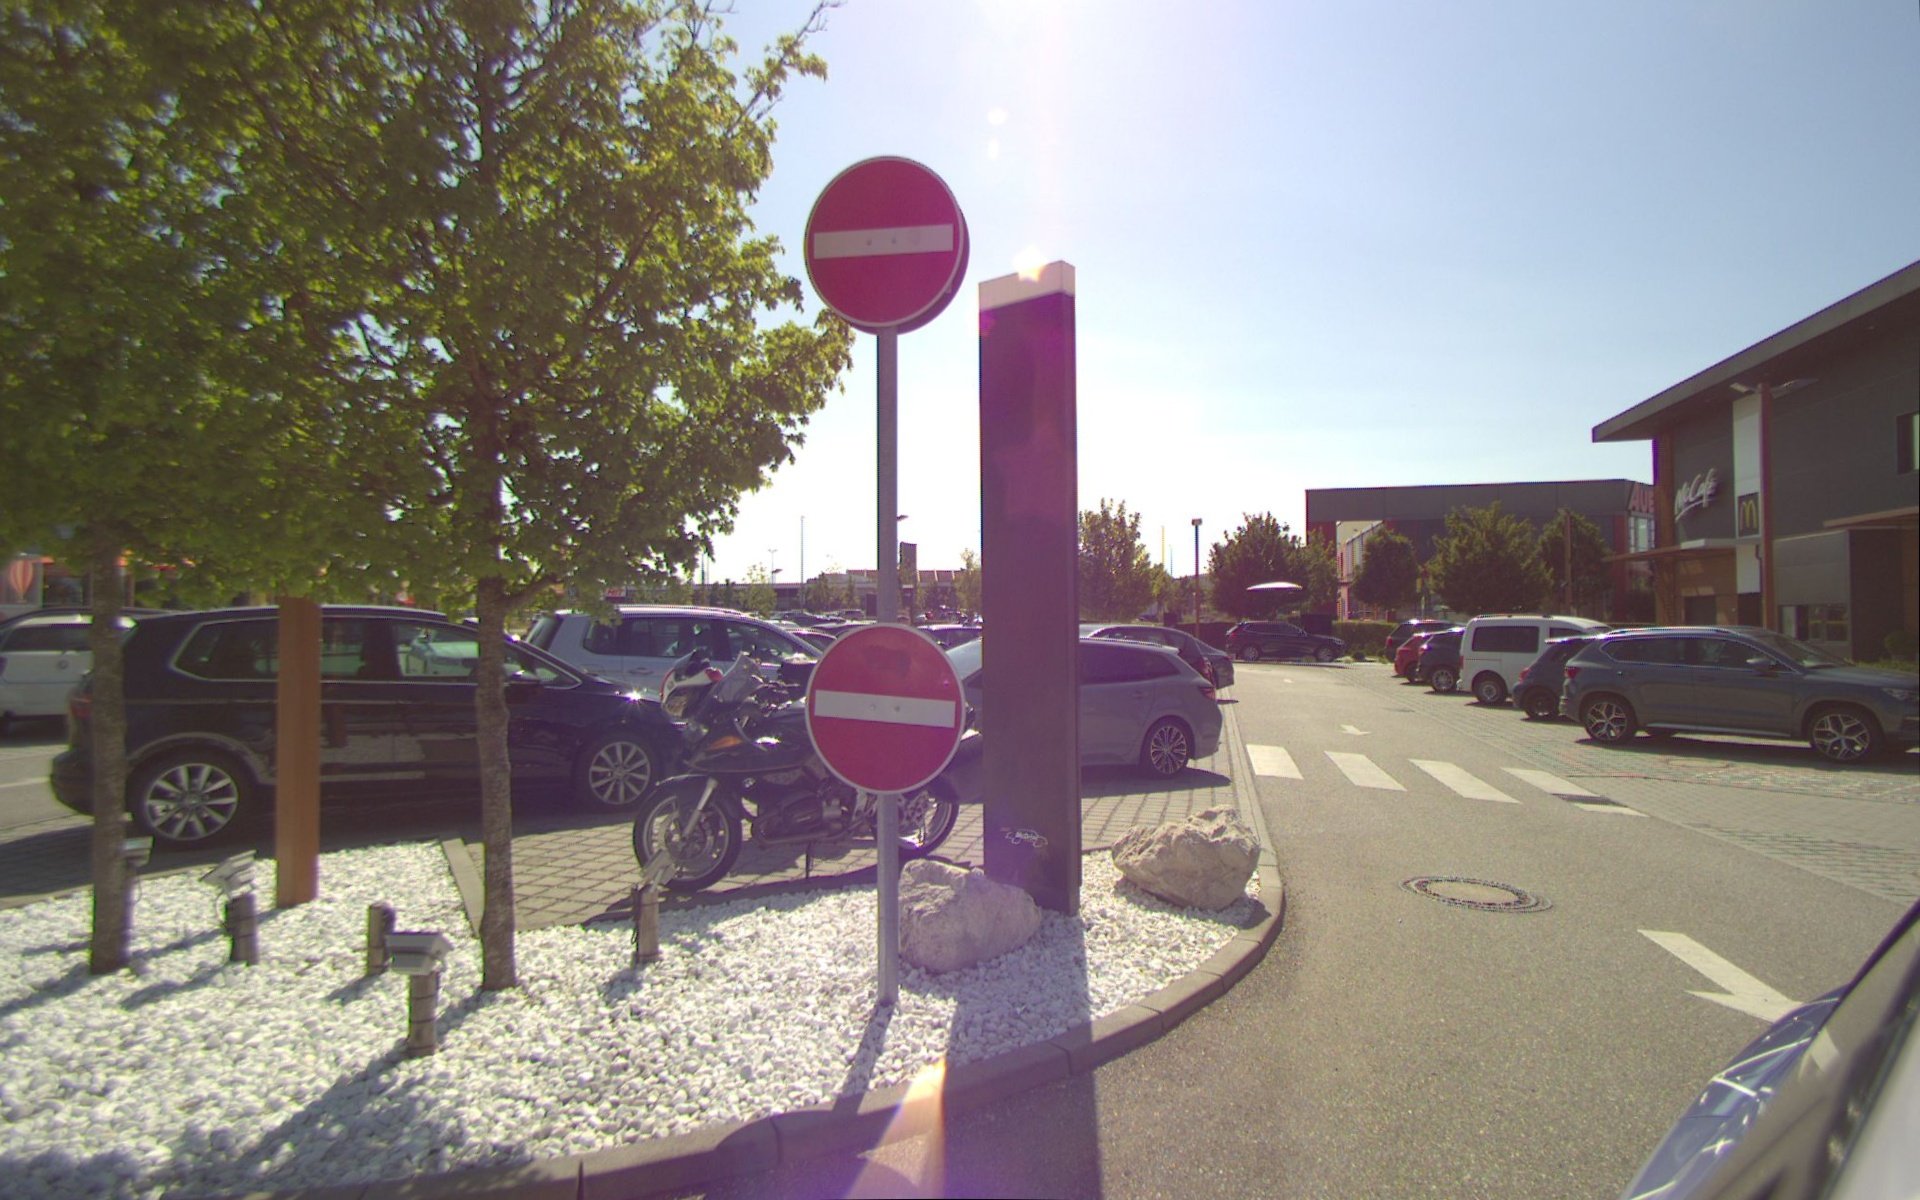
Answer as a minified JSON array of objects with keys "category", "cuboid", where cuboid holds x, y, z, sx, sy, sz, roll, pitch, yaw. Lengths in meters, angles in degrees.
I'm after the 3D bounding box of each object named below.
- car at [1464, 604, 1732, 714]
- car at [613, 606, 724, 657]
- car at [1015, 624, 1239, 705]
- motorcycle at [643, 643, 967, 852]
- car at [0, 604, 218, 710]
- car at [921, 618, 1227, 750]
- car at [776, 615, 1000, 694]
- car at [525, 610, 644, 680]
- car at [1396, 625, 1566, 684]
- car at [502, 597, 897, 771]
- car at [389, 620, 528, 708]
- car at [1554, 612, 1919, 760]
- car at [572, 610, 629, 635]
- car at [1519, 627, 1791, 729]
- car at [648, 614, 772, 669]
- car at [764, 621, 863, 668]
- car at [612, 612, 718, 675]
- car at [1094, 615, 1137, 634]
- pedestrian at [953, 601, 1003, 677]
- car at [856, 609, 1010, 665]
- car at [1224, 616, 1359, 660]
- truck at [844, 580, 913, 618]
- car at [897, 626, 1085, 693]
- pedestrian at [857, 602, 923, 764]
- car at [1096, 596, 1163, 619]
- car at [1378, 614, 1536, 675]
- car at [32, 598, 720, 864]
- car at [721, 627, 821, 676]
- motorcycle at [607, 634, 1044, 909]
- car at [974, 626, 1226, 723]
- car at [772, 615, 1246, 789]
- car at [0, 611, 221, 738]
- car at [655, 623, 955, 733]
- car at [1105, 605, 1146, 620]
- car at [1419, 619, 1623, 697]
[{"category":"car","cuboid":[12.487,1.073,20.046,1.725,1.946,4.144,1,-1,-36]},{"category":"car","cuboid":[-10.786,1.151,37.774,2.043,1.772,4.345,0,-1,15]},{"category":"car","cuboid":[3.526,1.271,21.179,4.451,1.530,1.889,1,-1,-30]},{"category":"motorcycle","cuboid":[-1.031,0.937,7.093,2.101,1.247,0.820,2,-3,-37]},{"category":"car","cuboid":[-14.532,0.872,16.253,4.004,1.597,1.759,1,-1,-29]},{"category":"car","cuboid":[1.607,1.064,14.123,3.918,1.614,1.814,1,-1,-28]},{"category":"car","cuboid":[-1.513,1.095,21.502,4.328,1.530,1.985,1,-1,-30]},{"category":"car","cuboid":[-8.579,0.956,22.922,1.785,1.421,4.002,1,-1,-32]},{"category":"car","cuboid":[13.966,1.422,27.227,3.759,1.462,1.649,-2,-2,43]},{"category":"car","cuboid":[-2.891,0.852,11.455,3.986,1.661,1.749,1,-2,-30]},{"category":"car","cuboid":[-9.955,1.161,19.898,1.877,1.490,4.472,1,-1,-34]},{"category":"car","cuboid":[10.538,1.055,13.390,1.756,1.624,4.228,-1,-2,-32]},{"category":"car","cuboid":[-30.964,1.931,87.163,4.984,2.039,1.976,0,-1,33]},{"category":"car","cuboid":[11.490,1.215,16.915,1.539,1.501,3.413,1,-2,-36]},{"category":"car","cuboid":[-7.581,1.198,30.460,1.749,1.531,4.342,1,-1,-43]},{"category":"car","cuboid":[-5.436,1.587,37.208,1.774,1.576,4.049,1,-1,-40]},{"category":"car","cuboid":[-7.771,1.071,26.444,1.784,1.508,4.004,1,-1,-29]},{"category":"car","cuboid":[14.464,2.278,94.069,3.936,1.750,1.888,0,-1,11]},{"category":"pedestrian","cuboid":[0.464,0.993,26.408,1.019,1.940,0.894,0,-2,27]},{"category":"car","cuboid":[-0.725,0.988,27.550,3.824,1.444,1.708,1,-1,-28]},{"category":"car","cuboid":[13.169,1.497,40.519,4.988,1.651,1.916,0,-1,14]},{"category":"truck","cuboid":[-7.719,-0.106,95.027,2.380,3.394,7.552,1,-1,-41]},{"category":"car","cuboid":[0.797,1.424,25.416,4.328,1.530,1.985,1,-1,-30]},{"category":"pedestrian","cuboid":[-0.783,0.897,11.222,0.551,1.735,0.612,1,-2,-22]},{"category":"car","cuboid":[17.042,0.800,101.851,6.476,2.273,2.290,0,-1,15]},{"category":"car","cuboid":[14.909,1.294,30.436,4.015,1.728,1.652,-1,-1,37]},{"category":"car","cuboid":[-4.172,0.810,7.844,4.107,1.556,1.897,1,-1,-31]},{"category":"car","cuboid":[-6.338,1.643,33.543,1.679,1.429,4.684,1,-1,-32]},{"category":"motorcycle","cuboid":[-0.724,0.856,5.775,2.208,1.267,1.071,3,-4,-34]},{"category":"car","cuboid":[2.417,1.192,17.382,3.993,1.467,1.830,1,-1,-29]},{"category":"car","cuboid":[0.581,0.957,10.410,4.567,1.466,1.837,3,-2,-29]},{"category":"car","cuboid":[-11.488,0.887,13.660,1.806,1.444,4.191,1,-1,-28]},{"category":"car","cuboid":[-2.257,1.080,14.997,4.000,1.426,1.795,2,-2,-31]},{"category":"car","cuboid":[16.197,1.221,98.956,3.851,1.359,1.657,0,-1,15]},{"category":"car","cuboid":[13.053,1.287,23.717,1.727,1.653,3.837,1,-1,-41]}]
